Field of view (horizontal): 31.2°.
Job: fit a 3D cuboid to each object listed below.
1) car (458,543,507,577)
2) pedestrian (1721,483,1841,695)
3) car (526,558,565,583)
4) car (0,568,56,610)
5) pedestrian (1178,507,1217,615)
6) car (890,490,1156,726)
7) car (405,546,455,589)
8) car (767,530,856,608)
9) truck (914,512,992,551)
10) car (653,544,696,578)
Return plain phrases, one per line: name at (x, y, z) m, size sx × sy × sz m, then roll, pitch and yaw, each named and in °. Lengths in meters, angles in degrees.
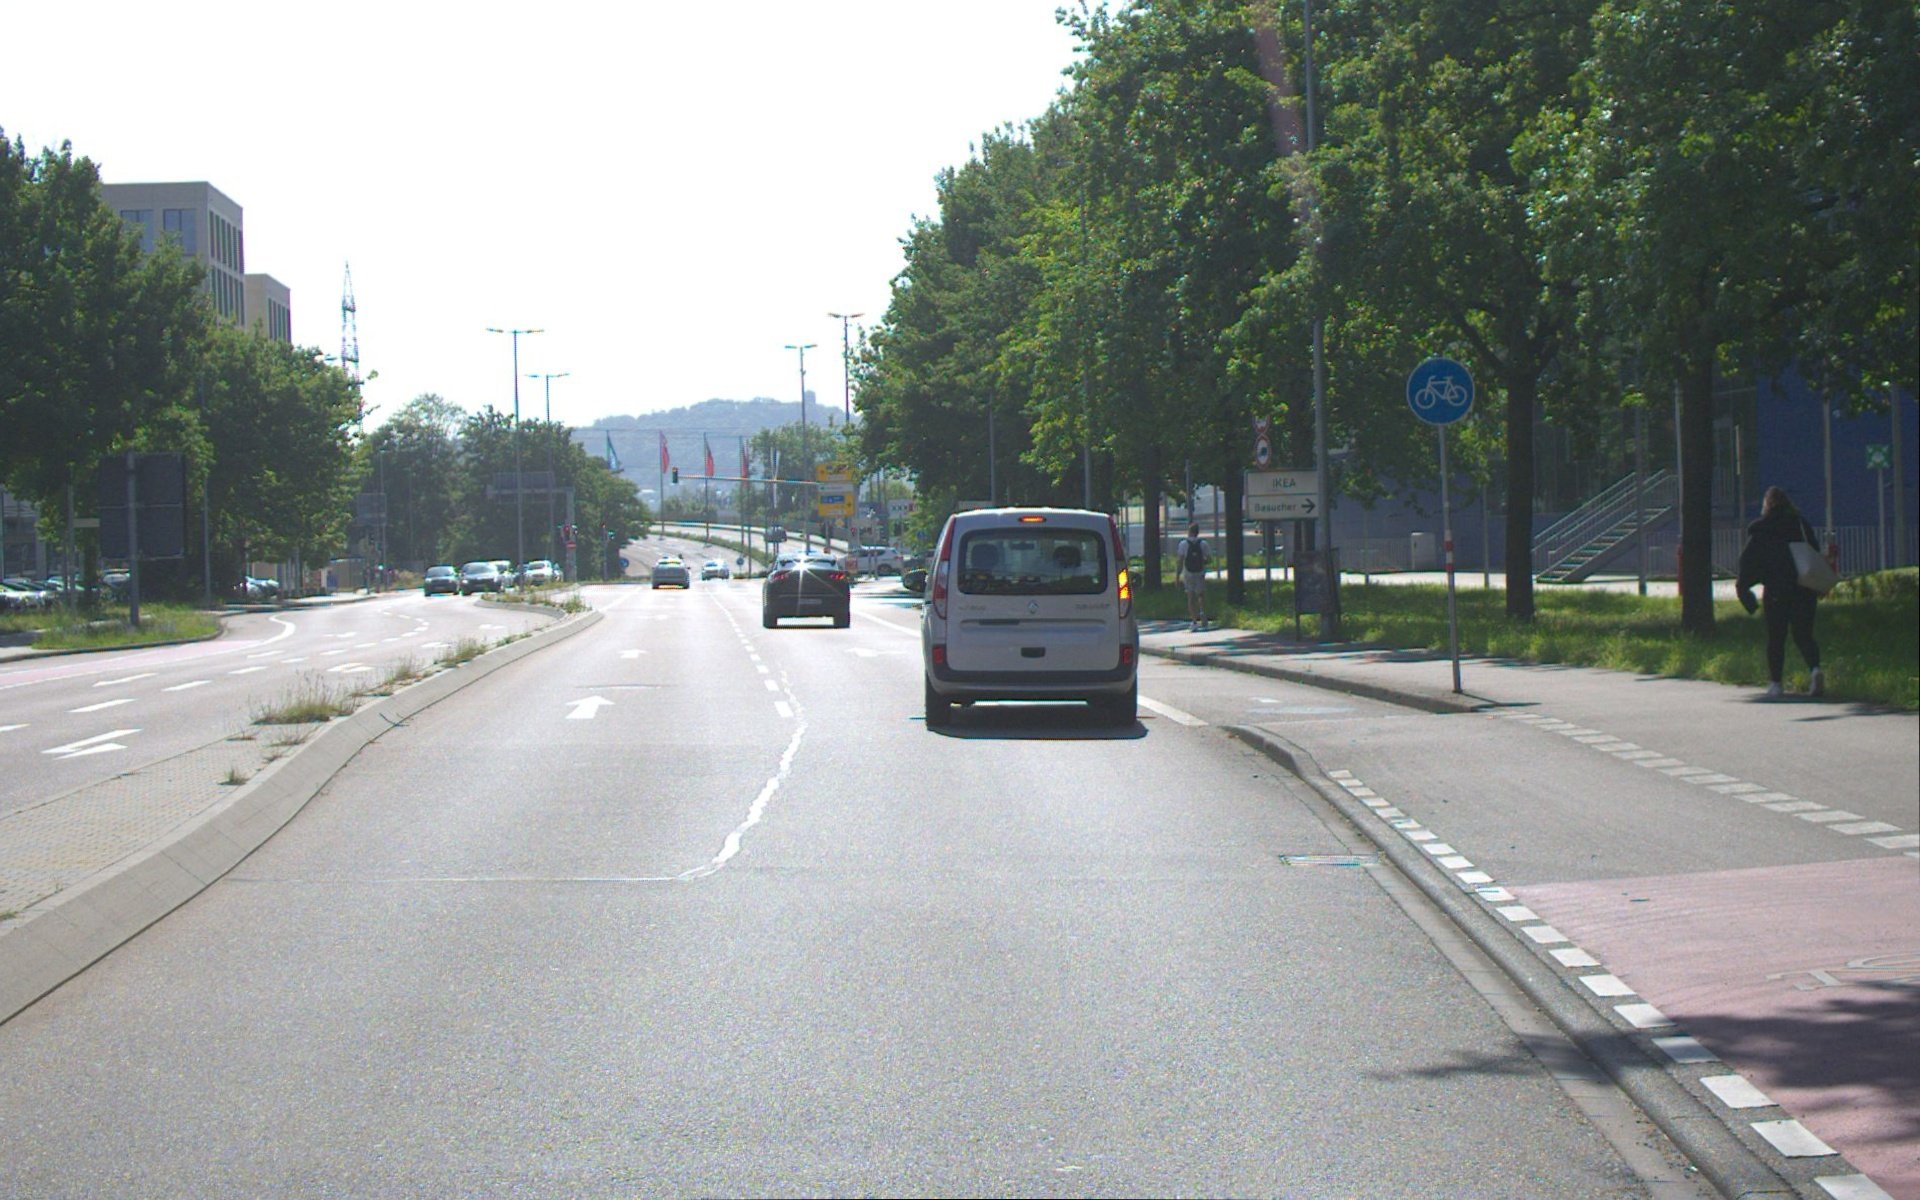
car at (-22.660, -1.921, 163.348) m, size 1.841 × 1.458 × 5.001 m, roll -4°, pitch 1°, yaw -4°
pedestrian at (6.336, -0.091, 26.568) m, size 0.647 × 1.598 × 0.847 m, roll -2°, pitch 1°, yaw -3°
car at (-25.897, -1.846, 214.846) m, size 1.815 × 1.459 × 4.000 m, roll -2°, pitch 1°, yaw 1°
car at (-33.347, -0.345, 118.218) m, size 4.041 × 1.371 × 2.025 m, roll -2°, pitch 1°, yaw -3°
pedestrian at (4.108, -0.679, 59.427) m, size 0.535 × 1.835 × 0.728 m, roll -2°, pitch 1°, yaw -3°
car at (0.465, 0.033, 29.538) m, size 1.905 × 1.822 × 4.181 m, roll -2°, pitch 1°, yaw -3°
car at (-26.314, -1.610, 170.693) m, size 1.993 × 2.006 × 4.001 m, roll 1°, pitch 2°, yaw -2°
car at (-3.321, -0.720, 77.390) m, size 1.807 × 1.634 × 4.459 m, roll -2°, pitch 1°, yaw -1°
truck at (-0.439, -4.406, 219.613) m, size 4.880 × 2.415 × 2.000 m, roll 1°, pitch 2°, yaw -2°
car at (-14.422, -1.980, 173.653) m, size 1.993 × 1.678 × 4.001 m, roll -2°, pitch 1°, yaw -3°
